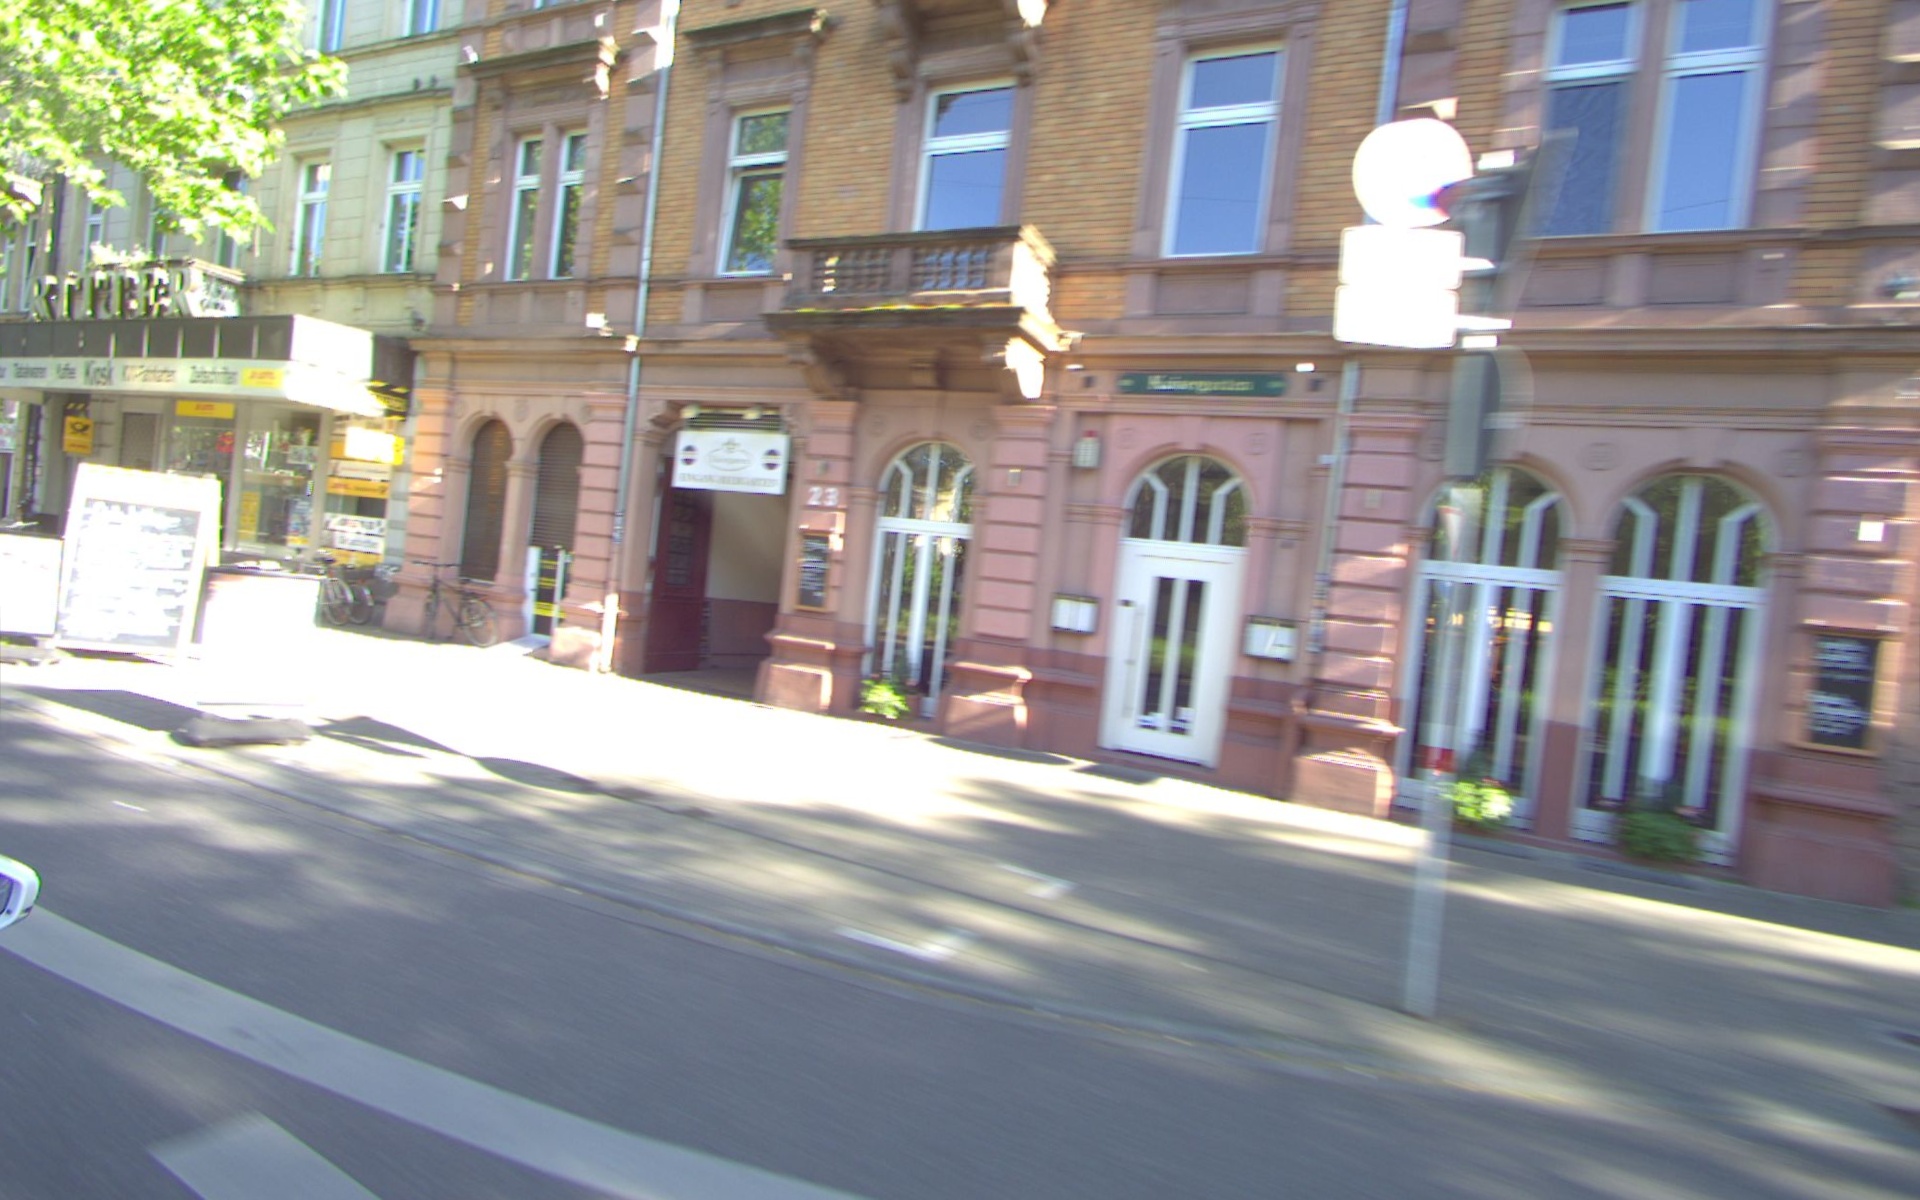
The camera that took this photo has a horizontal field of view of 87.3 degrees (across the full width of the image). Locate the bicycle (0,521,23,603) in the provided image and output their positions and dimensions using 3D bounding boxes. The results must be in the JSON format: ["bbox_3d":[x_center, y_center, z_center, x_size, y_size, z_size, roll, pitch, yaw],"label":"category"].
[{"bbox_3d":[-12.826,-0.569,12.947,1.658,1.005,0.444,7,-1,25],"label":"bicycle"}]

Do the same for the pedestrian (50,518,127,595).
[{"bbox_3d":[-14.628,-0.713,16.894,0.460,1.174,0.774,7,-1,1],"label":"pedestrian"}]

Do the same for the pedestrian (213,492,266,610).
[{"bbox_3d":[-11.766,-0.798,16.443,0.465,1.831,0.767,8,-1,-32],"label":"pedestrian"}]

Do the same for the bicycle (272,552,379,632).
[{"bbox_3d":[-9.600,-0.129,15.216,1.658,1.005,0.444,7,-1,25],"label":"bicycle"}]

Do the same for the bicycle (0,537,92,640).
[{"bbox_3d":[-10.122,-0.173,10.128,0.436,1.004,2.021,7,-2,24],"label":"bicycle"}]

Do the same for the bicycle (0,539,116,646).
[{"bbox_3d":[-9.696,-0.115,9.940,0.436,1.004,2.010,7,-2,24],"label":"bicycle"}]

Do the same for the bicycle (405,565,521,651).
[{"bbox_3d":[-7.056,0.109,14.263,1.658,1.005,0.444,7,-1,25],"label":"bicycle"}]

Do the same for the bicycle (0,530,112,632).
[{"bbox_3d":[-10.703,-0.239,11.771,1.658,1.005,0.444,7,-1,25],"label":"bicycle"}]
